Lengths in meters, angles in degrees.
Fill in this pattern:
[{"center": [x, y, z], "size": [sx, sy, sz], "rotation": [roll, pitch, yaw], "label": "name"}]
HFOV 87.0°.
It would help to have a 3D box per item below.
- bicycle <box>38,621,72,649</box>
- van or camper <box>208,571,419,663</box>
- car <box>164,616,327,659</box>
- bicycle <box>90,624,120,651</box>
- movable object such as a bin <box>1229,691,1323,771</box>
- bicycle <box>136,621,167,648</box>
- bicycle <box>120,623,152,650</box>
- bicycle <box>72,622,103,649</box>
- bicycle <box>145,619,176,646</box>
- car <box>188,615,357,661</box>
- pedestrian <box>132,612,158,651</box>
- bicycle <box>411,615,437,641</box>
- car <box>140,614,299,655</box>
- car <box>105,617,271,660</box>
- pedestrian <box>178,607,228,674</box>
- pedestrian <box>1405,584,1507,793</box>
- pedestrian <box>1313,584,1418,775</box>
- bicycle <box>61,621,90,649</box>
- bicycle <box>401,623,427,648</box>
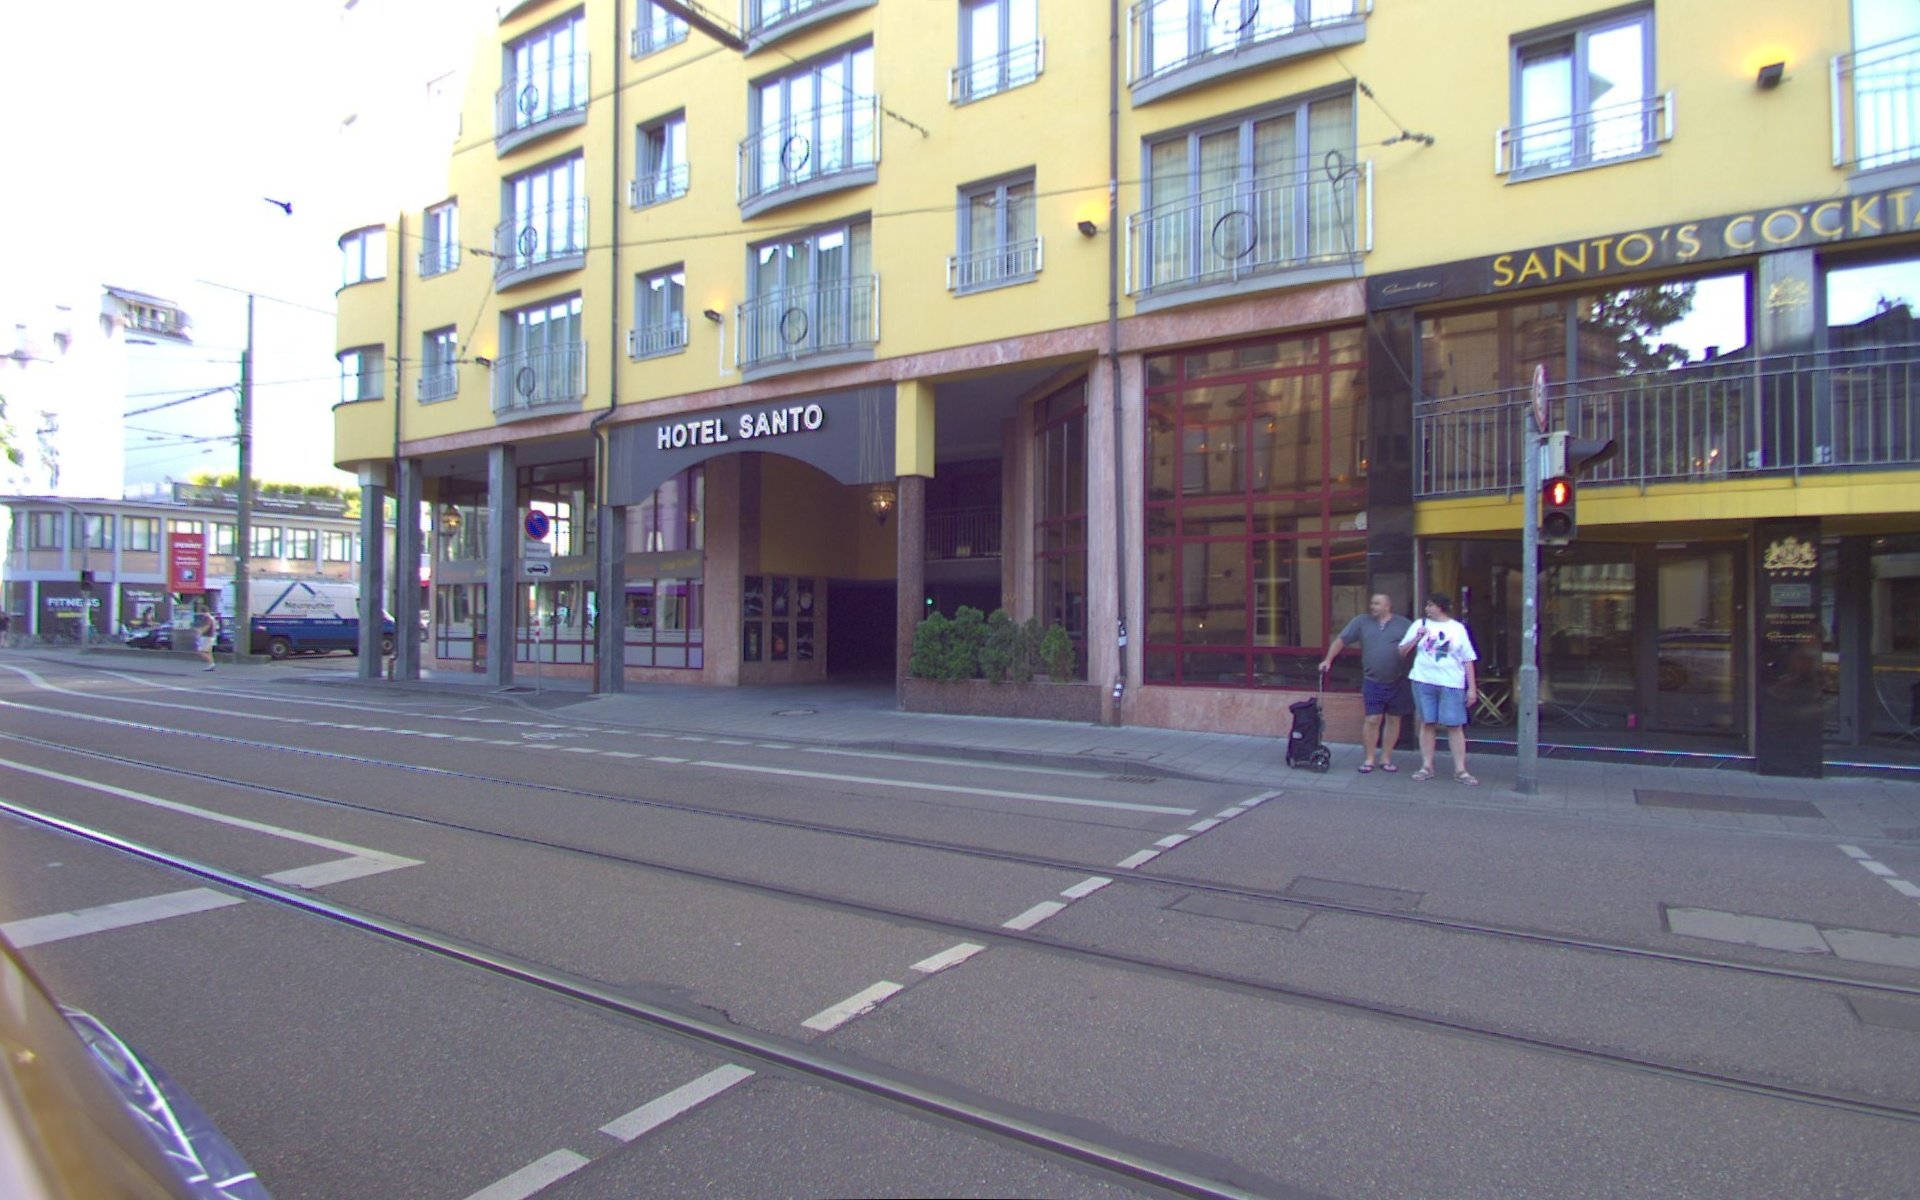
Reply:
[{"center": [-39.475, 1.522, 44.153], "size": [1.822, 1.196, 0.443], "rotation": [-1, -2, 27], "label": "bicycle"}, {"center": [-21.729, 0.615, 34.291], "size": [2.308, 2.849, 5.561], "rotation": [-1, -2, 33], "label": "van or camper"}, {"center": [-26.292, 1.377, 37.390], "size": [1.874, 1.487, 4.552], "rotation": [-1, -2, 33], "label": "car"}, {"center": [-38.198, 1.691, 45.204], "size": [1.824, 1.196, 0.440], "rotation": [-1, -2, 30], "label": "bicycle"}, {"center": [3.248, 1.336, 10.410], "size": [0.839, 0.721, 0.380], "rotation": [-1, 2, 34], "label": "movable object such as a bin"}, {"center": [-36.586, 1.572, 45.803], "size": [1.824, 1.196, 0.445], "rotation": [-1, -2, 30], "label": "bicycle"}, {"center": [-36.885, 1.632, 45.297], "size": [1.824, 1.196, 0.445], "rotation": [-1, -2, 30], "label": "bicycle"}, {"center": [-38.613, 1.569, 44.771], "size": [1.824, 1.196, 0.445], "rotation": [-1, -2, 30], "label": "bicycle"}, {"center": [-36.653, 1.496, 46.394], "size": [1.824, 1.196, 0.445], "rotation": [-1, -2, 30], "label": "bicycle"}, {"center": [-23.942, 1.327, 35.416], "size": [1.874, 1.487, 4.552], "rotation": [-1, -2, 33], "label": "car"}, {"center": [-36.221, 1.411, 44.999], "size": [0.681, 1.710, 0.676], "rotation": [-1, -2, 31], "label": "pedestrian"}, {"center": [-25.589, 1.338, 48.281], "size": [1.830, 1.196, 0.427], "rotation": [-2, -3, 40], "label": "bicycle"}, {"center": [-28.340, 1.334, 38.887], "size": [1.874, 1.487, 4.552], "rotation": [-1, -2, 33], "label": "car"}, {"center": [-30.325, 1.516, 39.907], "size": [1.874, 1.595, 4.855], "rotation": [-1, -2, 33], "label": "car"}, {"center": [-21.258, 1.133, 28.411], "size": [0.906, 1.846, 0.827], "rotation": [-1, -2, 32], "label": "pedestrian"}, {"center": [4.767, 0.796, 9.704], "size": [0.751, 1.832, 1.035], "rotation": [-1, 2, 31], "label": "pedestrian"}, {"center": [4.067, 0.763, 10.139], "size": [0.798, 1.784, 0.741], "rotation": [-1, 2, 34], "label": "pedestrian"}, {"center": [-38.698, 1.542, 44.287], "size": [1.825, 1.196, 0.437], "rotation": [-1, -2, 32], "label": "bicycle"}, {"center": [-25.862, 1.686, 47.898], "size": [1.830, 1.196, 0.427], "rotation": [-2, -3, 40], "label": "bicycle"}]
